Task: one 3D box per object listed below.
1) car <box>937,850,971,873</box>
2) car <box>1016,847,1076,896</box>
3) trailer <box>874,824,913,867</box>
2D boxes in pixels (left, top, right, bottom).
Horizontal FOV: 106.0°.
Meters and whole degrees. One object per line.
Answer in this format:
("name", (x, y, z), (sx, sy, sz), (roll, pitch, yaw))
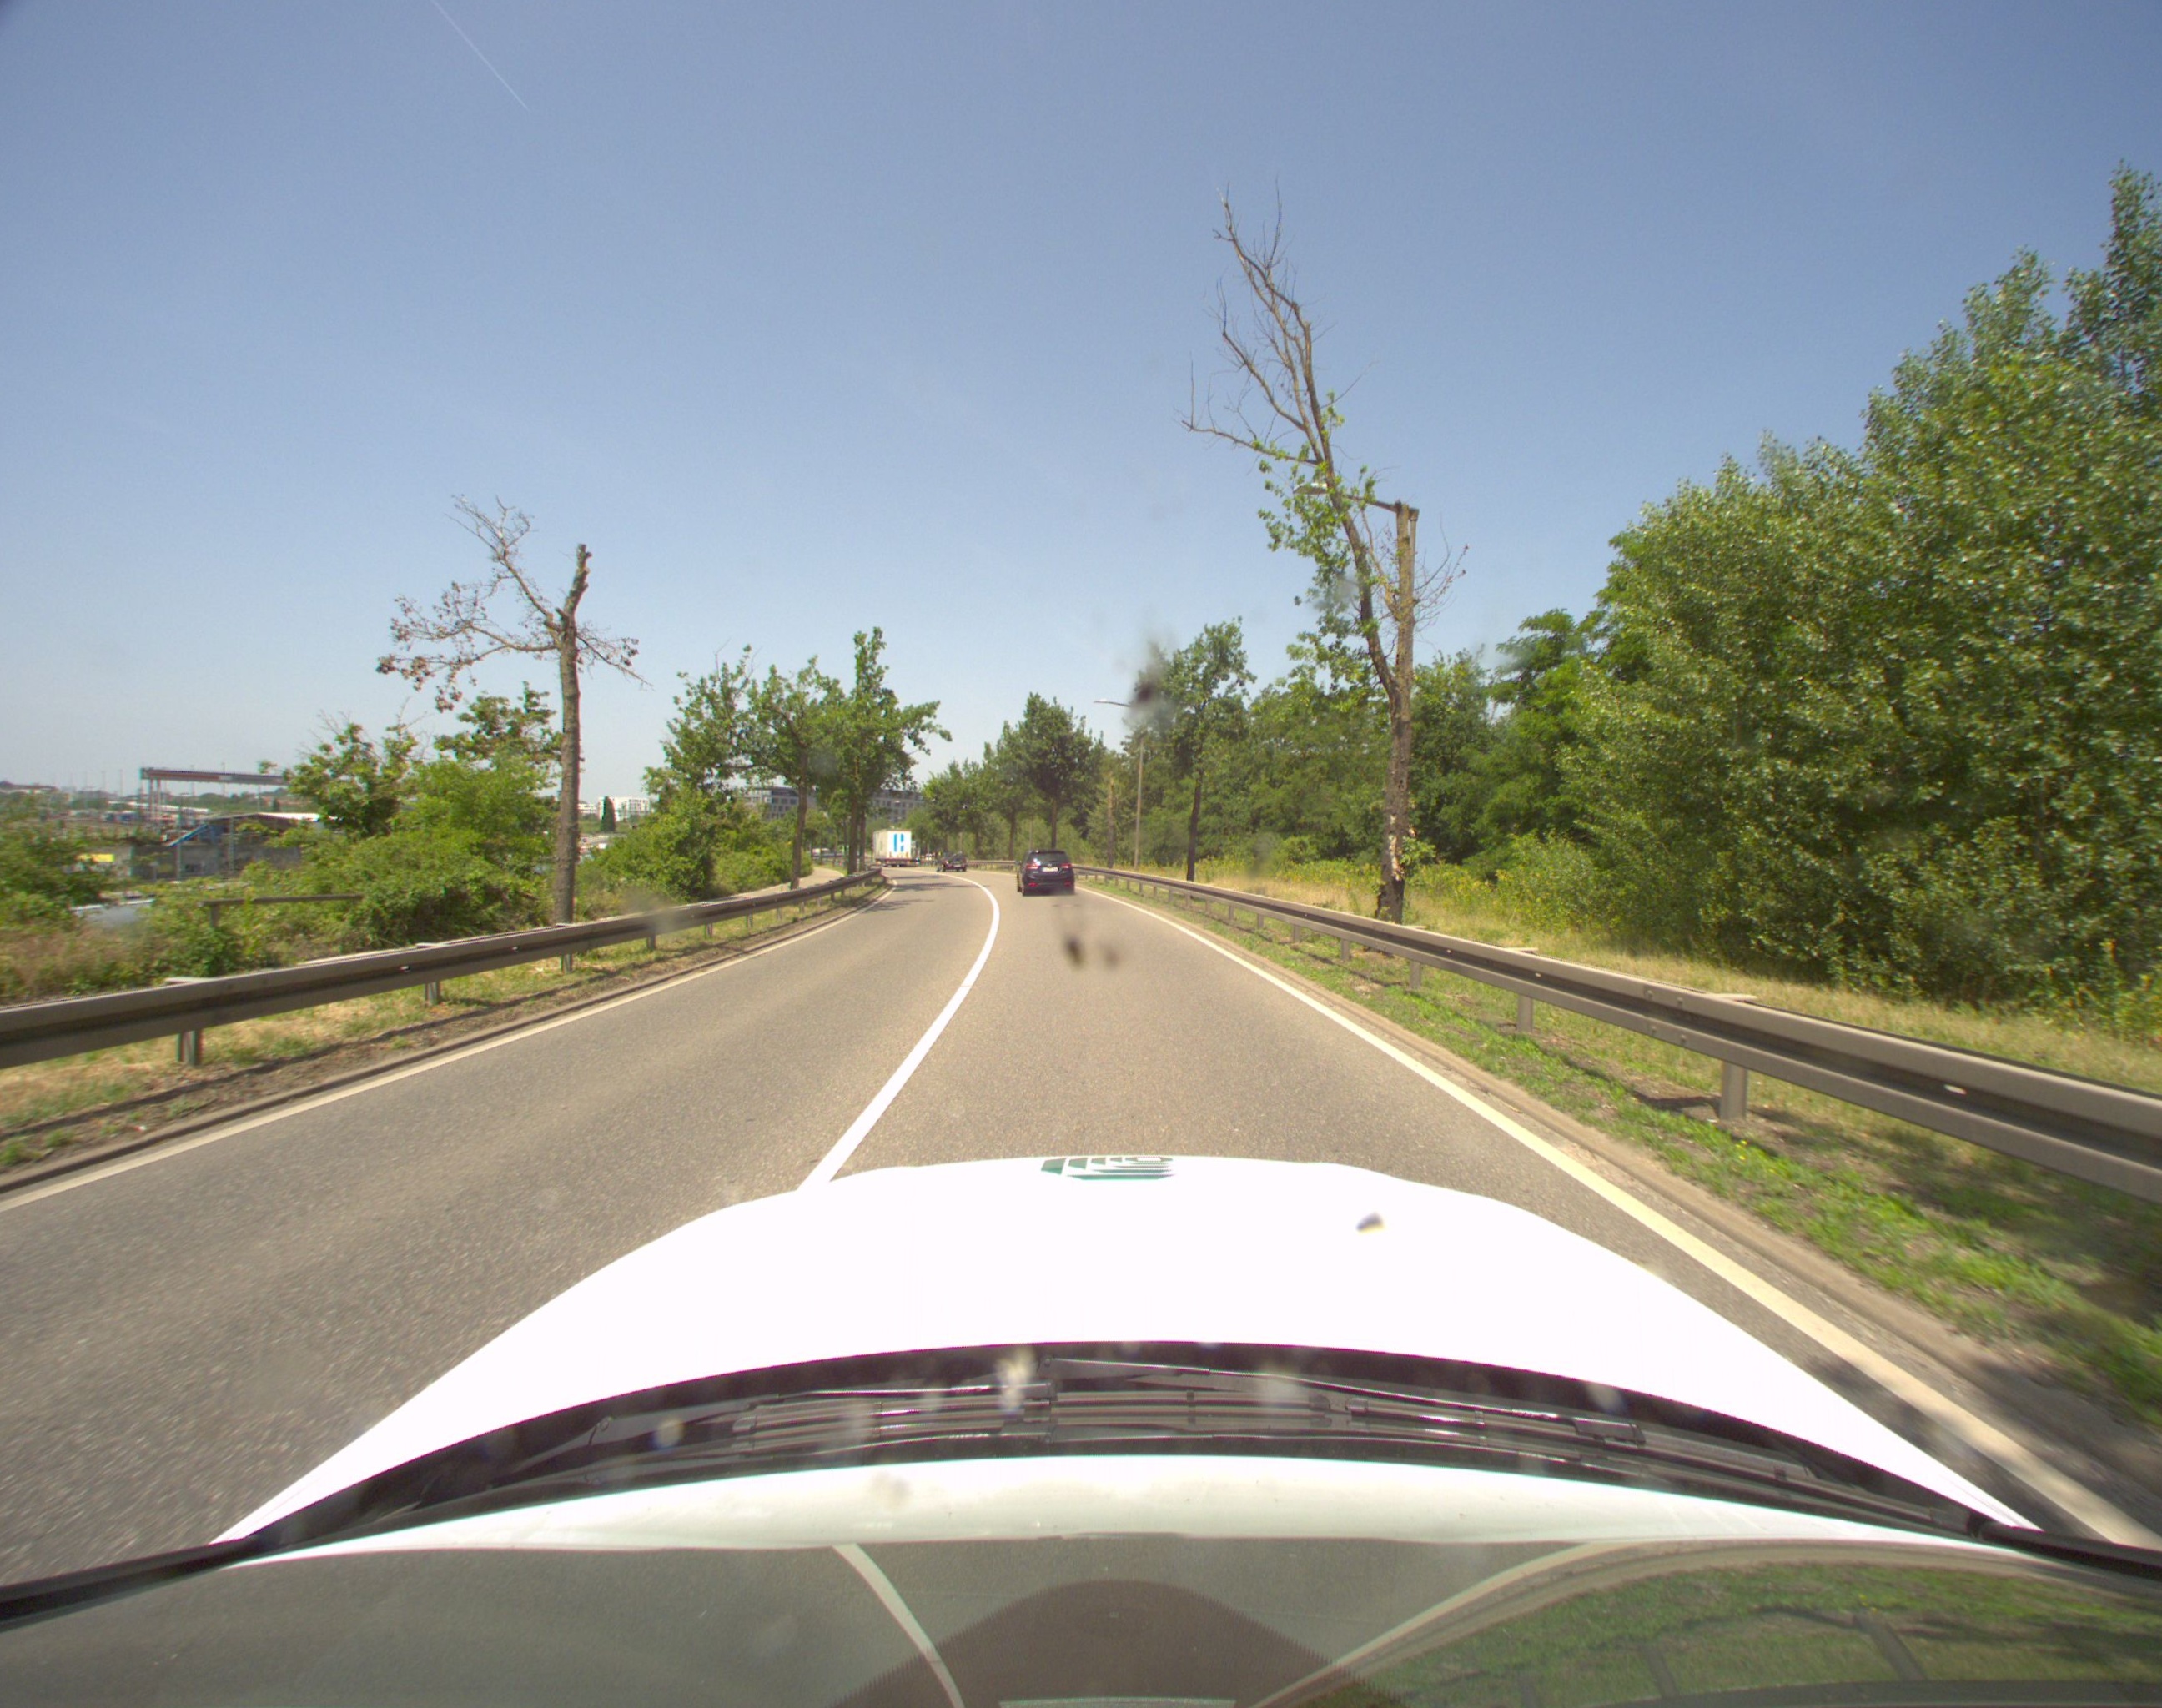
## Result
("car", (-9.431, 0.556, 60.274), (1.960, 1.633, 4.257), (1, -1, -15))
("car", (-1.312, 0.583, 28.722), (1.766, 1.599, 4.066), (0, 0, -8))
("trailer", (-21.149, -1.015, 91.152), (3.086, 4.368, 14.687), (1, 1, -18))
